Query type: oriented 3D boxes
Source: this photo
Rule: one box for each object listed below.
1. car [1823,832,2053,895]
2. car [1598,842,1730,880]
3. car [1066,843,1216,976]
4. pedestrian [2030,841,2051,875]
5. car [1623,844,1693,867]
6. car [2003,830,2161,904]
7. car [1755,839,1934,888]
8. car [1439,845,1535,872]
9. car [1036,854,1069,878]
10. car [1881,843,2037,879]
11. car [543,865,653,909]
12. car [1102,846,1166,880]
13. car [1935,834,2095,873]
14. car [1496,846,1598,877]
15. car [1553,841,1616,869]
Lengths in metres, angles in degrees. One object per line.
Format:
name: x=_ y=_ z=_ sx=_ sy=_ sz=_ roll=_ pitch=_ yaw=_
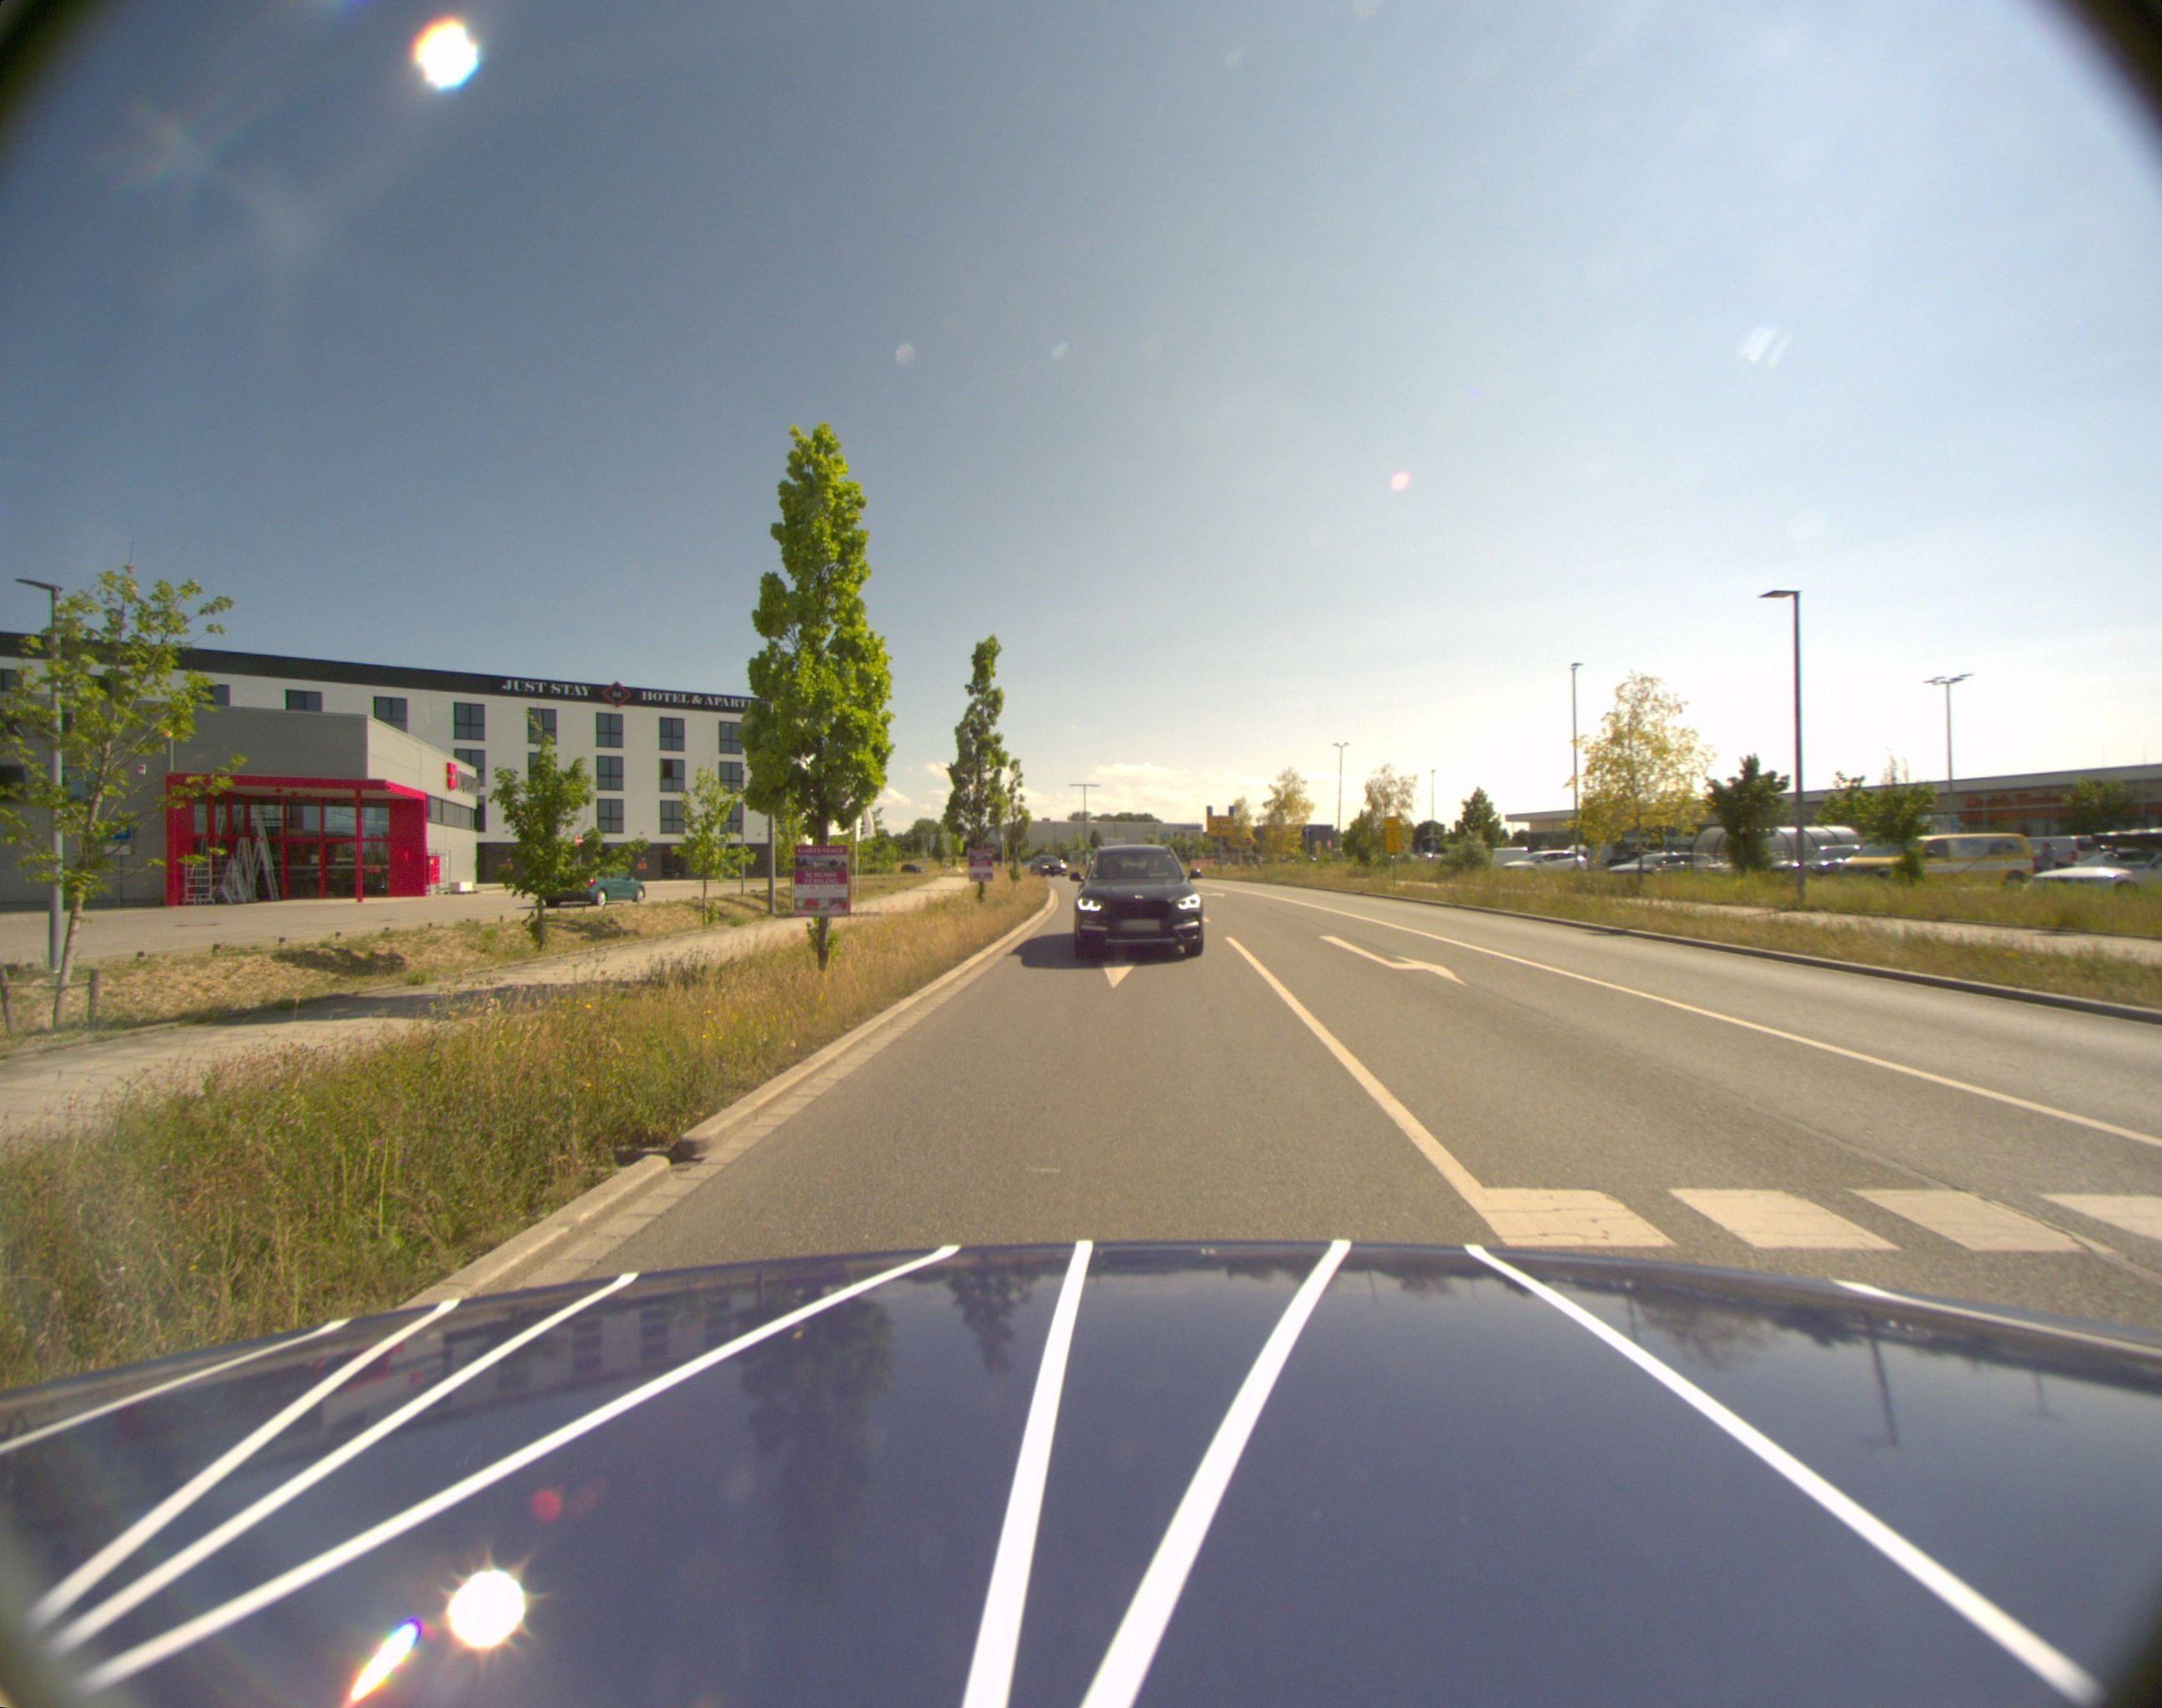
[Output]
car: x=28.430 y=0.290 z=25.319 sx=5.697 sy=1.953 sz=1.999 roll=-1 pitch=0 yaw=-3
car: x=26.901 y=0.309 z=35.149 sx=4.715 sy=1.662 sz=1.999 roll=-1 pitch=0 yaw=-4
car: x=0.763 y=0.773 z=12.051 sx=1.901 sy=1.669 sz=4.467 roll=-2 pitch=-1 yaw=0
pedestrian: x=41.706 y=0.163 z=33.023 sx=0.510 sy=1.456 sz=0.413 roll=-1 pitch=1 yaw=-16
car: x=40.301 y=0.110 z=53.078 sx=4.003 sy=1.543 sz=1.841 roll=-1 pitch=0 yaw=-17
car: x=27.778 y=0.322 z=20.199 sx=4.154 sy=1.850 sz=1.932 roll=-1 pitch=0 yaw=1
car: x=27.536 y=0.335 z=27.509 sx=4.781 sy=1.662 sz=1.881 roll=-1 pitch=0 yaw=-3
car: x=25.636 y=0.270 z=48.033 sx=5.198 sy=1.662 sz=1.998 roll=-1 pitch=0 yaw=-11
car: x=-2.214 y=0.879 z=57.387 sx=1.758 sy=1.678 sz=4.376 roll=-1 pitch=0 yaw=-12
car: x=39.971 y=0.291 z=34.758 sx=1.719 sy=1.517 sz=4.347 roll=-1 pitch=0 yaw=-19
car: x=-17.077 y=1.106 z=27.091 sx=1.517 sy=1.399 sz=3.999 roll=-1 pitch=0 yaw=-3
car: x=2.638 y=0.502 z=39.249 sx=2.116 sy=1.633 sz=4.774 roll=-1 pitch=-1 yaw=-11
car: x=44.977 y=-0.024 z=36.769 sx=1.718 sy=1.731 sz=4.577 roll=-1 pitch=0 yaw=-15
car: x=26.268 y=0.391 z=42.896 sx=4.603 sy=1.662 sz=1.999 roll=-1 pitch=0 yaw=-5
car: x=47.924 y=0.061 z=72.325 sx=5.724 sy=2.572 sz=1.937 roll=-1 pitch=0 yaw=-20
